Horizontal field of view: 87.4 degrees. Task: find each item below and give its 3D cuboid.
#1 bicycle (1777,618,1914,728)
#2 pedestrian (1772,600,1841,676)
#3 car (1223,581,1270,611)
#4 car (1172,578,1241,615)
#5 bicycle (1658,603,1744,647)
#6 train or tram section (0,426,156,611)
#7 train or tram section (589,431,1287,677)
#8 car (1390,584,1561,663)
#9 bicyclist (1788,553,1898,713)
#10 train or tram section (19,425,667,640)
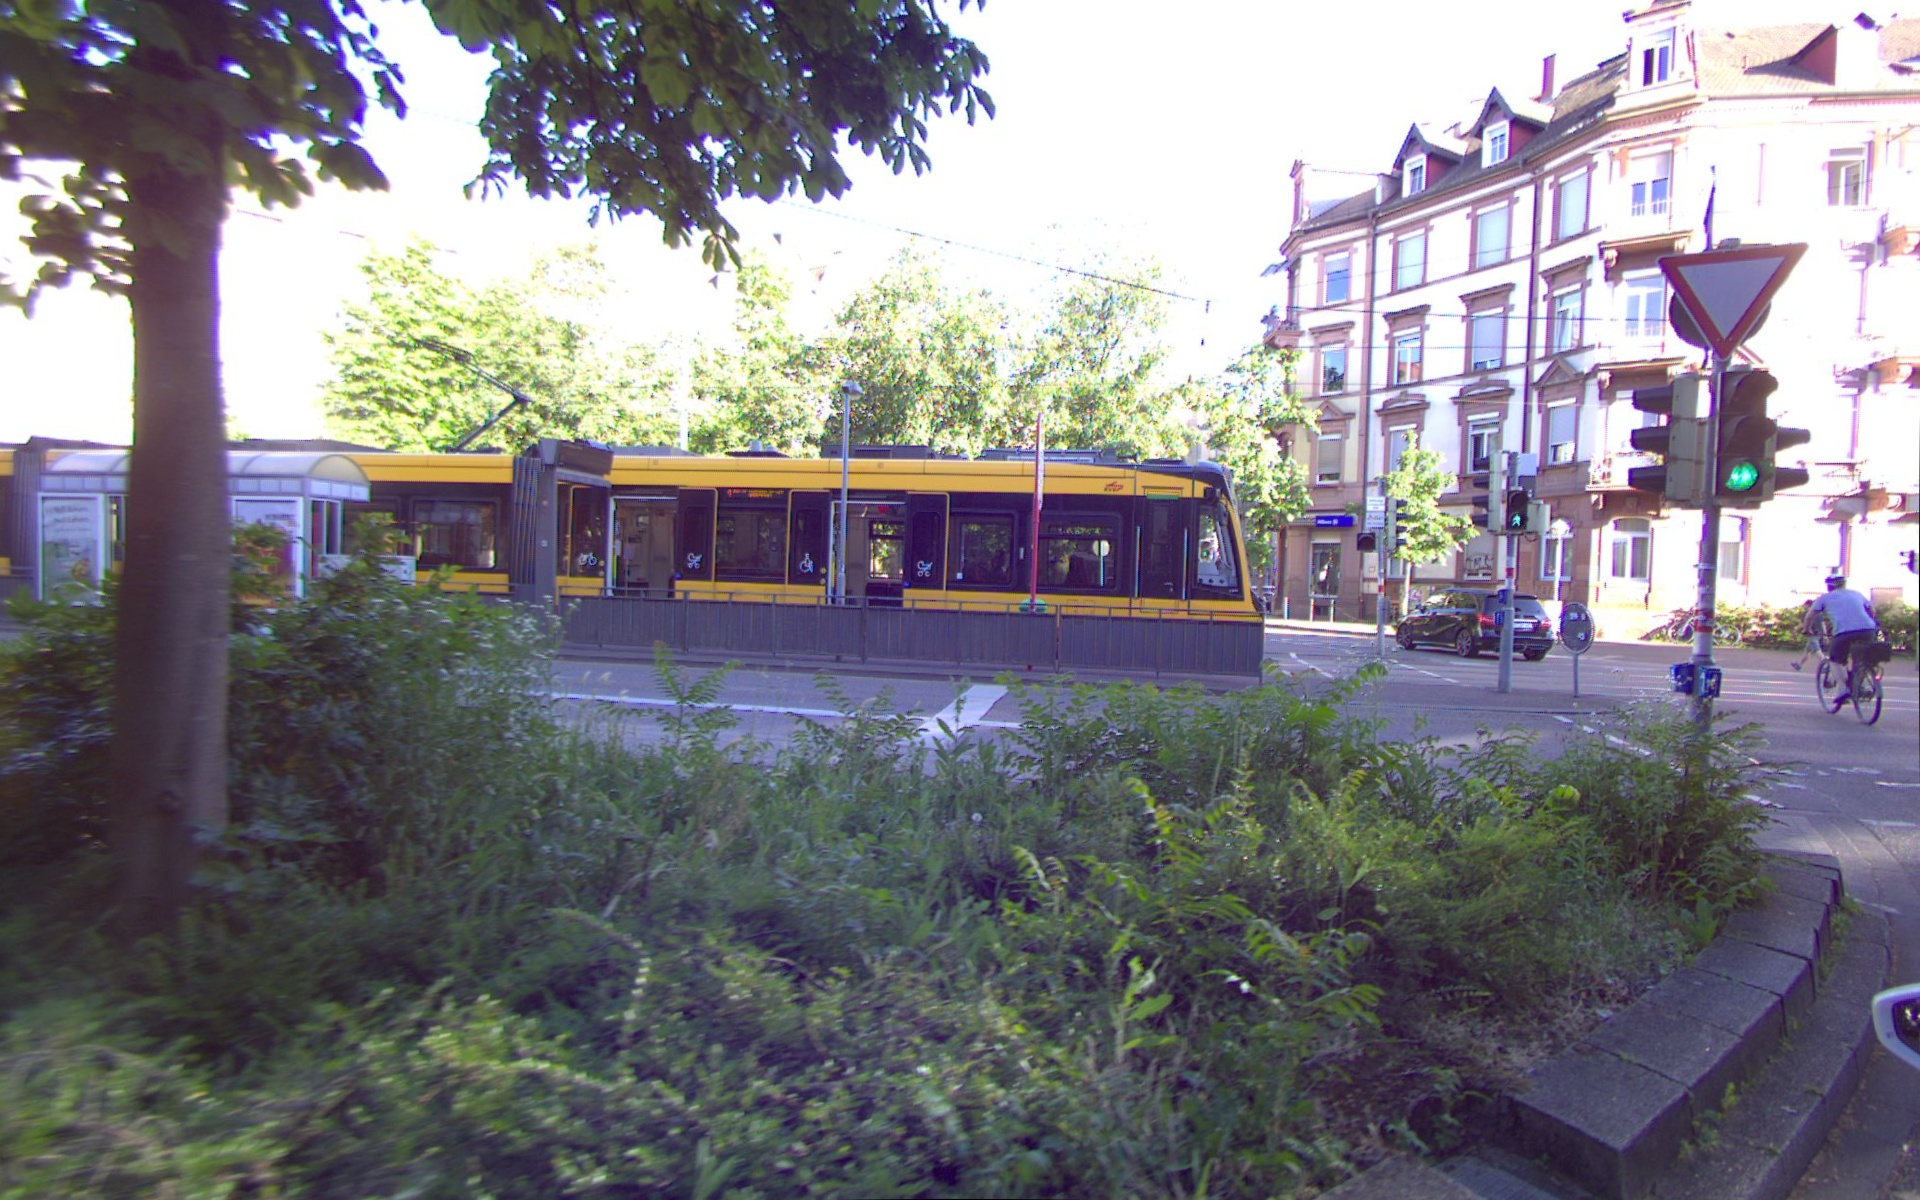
[{"bbox_3d":[11.225,0.864,12.828,0.798,1.200,2.223,3,1,29],"label":"bicycle"},{"bbox_3d":[19.653,0.869,23.343,0.715,1.657,0.900,0,4,-21],"label":"pedestrian"},{"bbox_3d":[15.057,-0.198,52.700,1.479,1.477,3.199,3,2,32],"label":"car"},{"bbox_3d":[11.939,-0.172,48.435,1.767,1.632,4.355,3,2,35],"label":"car"},{"bbox_3d":[21.800,0.730,29.580,1.940,1.122,0.440,5,4,45],"label":"bicycle"},{"bbox_3d":[-24.271,-1.862,22.104,12.424,3.605,2.775,2,2,10],"label":"train or tram section"},{"bbox_3d":[-0.486,-0.901,17.834,11.561,3.668,2.802,2,2,10],"label":"train or tram section"},{"bbox_3d":[11.780,0.471,23.259,1.761,1.563,3.857,0,3,-4],"label":"car"},{"bbox_3d":[11.230,0.394,12.820,0.782,1.939,0.943,3,2,29],"label":"bicyclist"},{"bbox_3d":[-12.163,-1.377,19.926,12.168,3.636,2.788,2,2,10],"label":"train or tram section"}]
